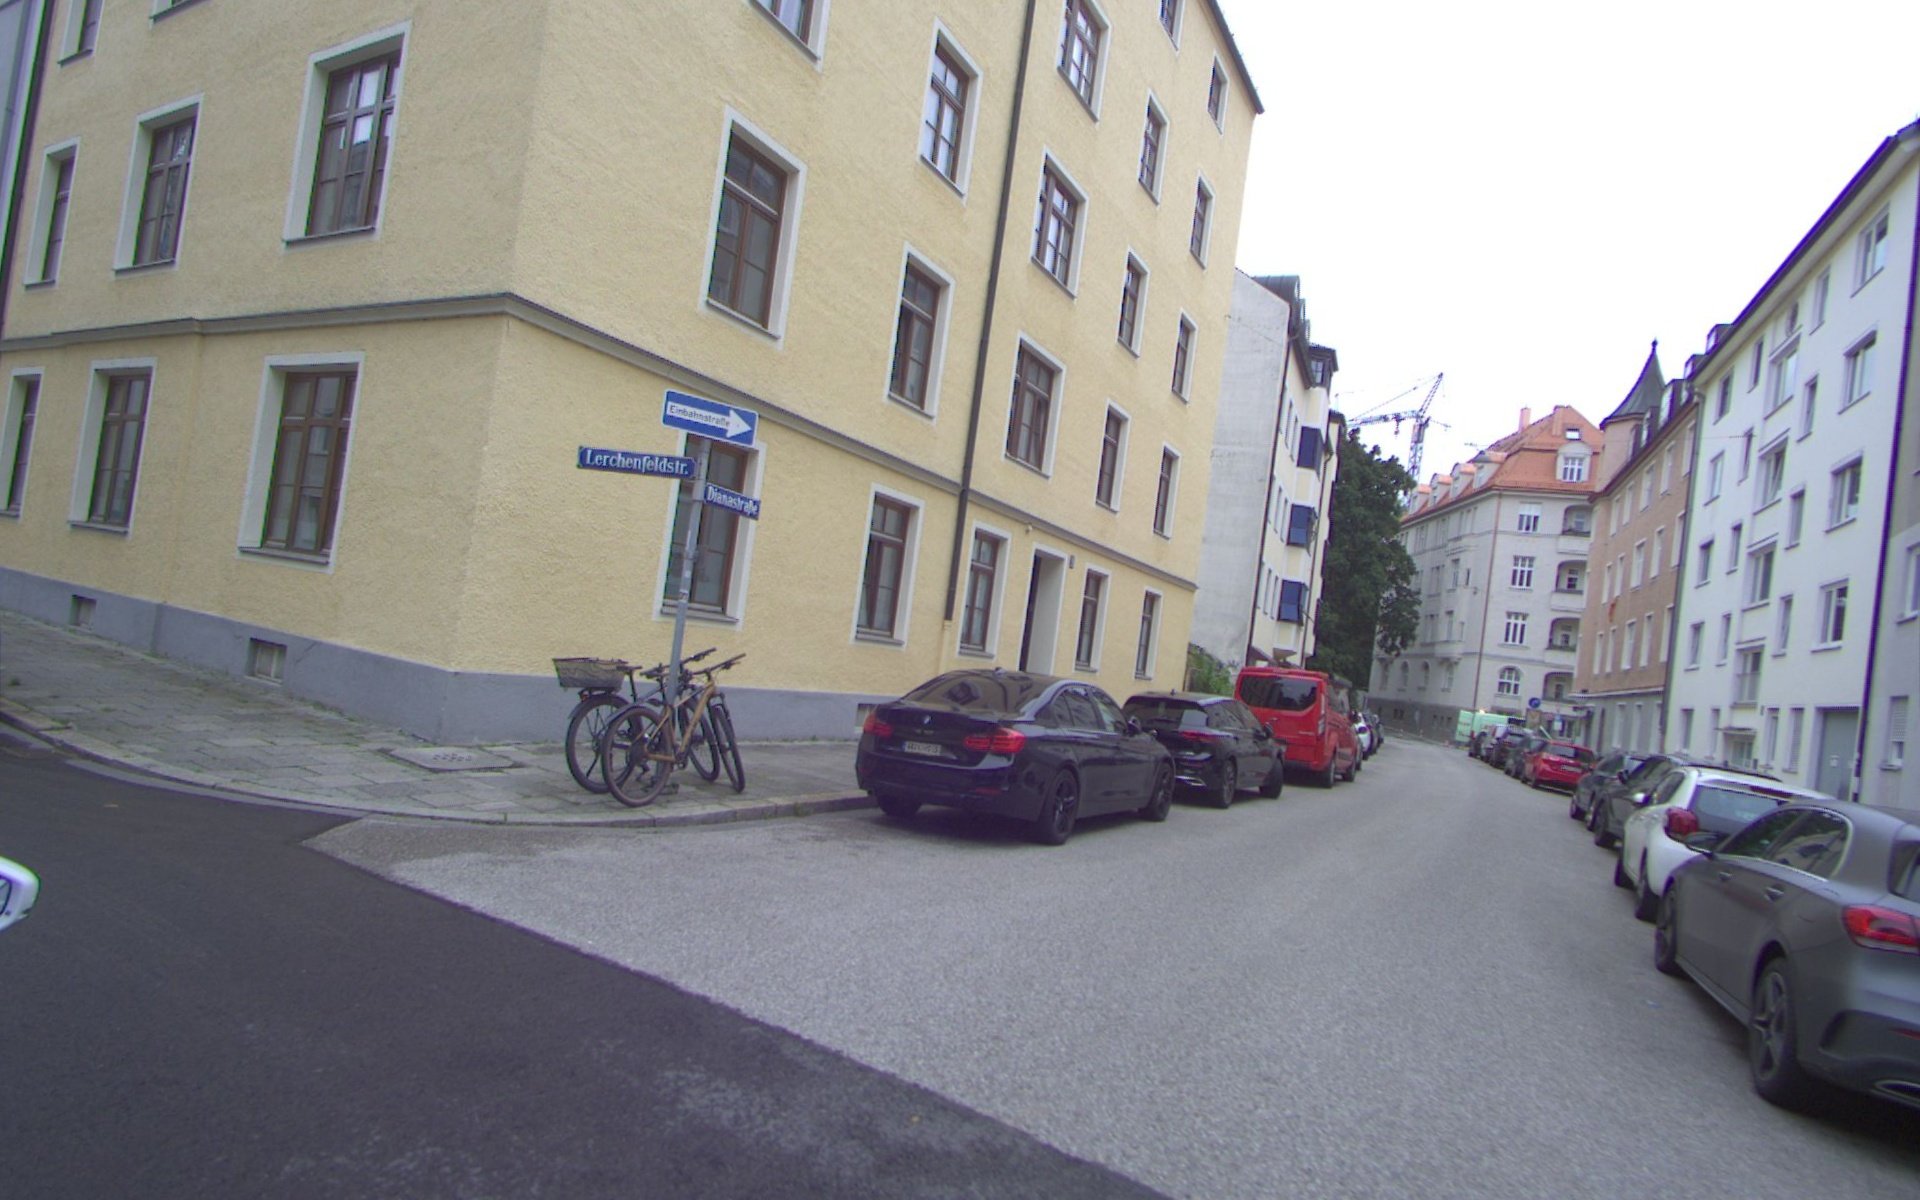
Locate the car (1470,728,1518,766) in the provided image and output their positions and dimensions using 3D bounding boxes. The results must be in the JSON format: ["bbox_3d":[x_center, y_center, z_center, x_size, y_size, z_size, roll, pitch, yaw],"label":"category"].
[{"bbox_3d":[27.479,7.553,51.857,1.705,1.531,3.888,9,-2,25],"label":"car"}]

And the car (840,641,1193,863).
[{"bbox_3d":[0.809,1.398,9.902,1.682,1.510,4.224,6,-3,29],"label":"car"}]

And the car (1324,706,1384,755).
[{"bbox_3d":[14.710,4.836,37.472,1.732,1.504,4.040,5,-4,25],"label":"car"}]

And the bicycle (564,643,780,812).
[{"bbox_3d":[-2.197,0.977,7.915,0.367,1.153,1.716,9,0,30],"label":"bicycle"}]

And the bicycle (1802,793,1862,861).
[{"bbox_3d":[17.339,4.484,20.023,0.457,1.128,1.802,7,-3,30],"label":"bicycle"}]

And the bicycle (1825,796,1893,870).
[{"bbox_3d":[16.455,4.243,18.448,0.457,1.128,1.802,7,-3,30],"label":"bicycle"}]

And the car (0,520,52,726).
[{"bbox_3d":[-9.132,-0.158,7.804,4.270,1.484,1.757,7,-5,31],"label":"car"}]

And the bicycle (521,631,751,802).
[{"bbox_3d":[-2.585,0.931,8.263,0.496,1.188,1.812,9,0,29],"label":"bicycle"}]

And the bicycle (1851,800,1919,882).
[{"bbox_3d":[15.545,4.002,16.866,0.457,1.128,1.802,7,-3,30],"label":"bicycle"}]

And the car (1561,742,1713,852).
[{"bbox_3d":[12.367,3.523,18.587,1.538,1.433,3.678,9,-2,25],"label":"car"}]

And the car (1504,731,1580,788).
[{"bbox_3d":[20.194,5.503,35.044,1.705,1.531,3.888,9,-2,25],"label":"car"}]

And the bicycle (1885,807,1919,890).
[{"bbox_3d":[14.666,3.789,15.249,0.457,1.128,1.802,7,-3,30],"label":"bicycle"}]

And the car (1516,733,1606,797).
[{"bbox_3d":[17.958,4.903,30.203,1.705,1.433,3.678,9,-2,25],"label":"car"}]

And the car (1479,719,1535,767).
[{"bbox_3d":[25.221,6.553,46.490,1.705,1.812,4.113,9,-2,25],"label":"car"}]

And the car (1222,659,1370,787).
[{"bbox_3d":[6.830,2.446,20.125,1.876,2.074,4.555,4,-4,29],"label":"car"}]

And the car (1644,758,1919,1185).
[{"bbox_3d":[5.274,1.838,5.429,1.965,1.415,4.216,9,-1,28],"label":"car"}]

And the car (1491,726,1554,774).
[{"bbox_3d":[23.092,6.133,41.425,1.705,1.531,3.888,9,-2,25],"label":"car"}]

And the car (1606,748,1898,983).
[{"bbox_3d":[7.535,2.405,9.911,1.540,1.452,3.353,12,0,30],"label":"car"}]

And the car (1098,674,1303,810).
[{"bbox_3d":[3.603,2.017,14.525,1.683,1.510,3.985,4,-4,31],"label":"car"}]

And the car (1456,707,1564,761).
[{"bbox_3d":[36.164,8.815,66.388,5.885,2.572,2.002,6,-4,26],"label":"car"}]

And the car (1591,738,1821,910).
[{"bbox_3d":[10.026,2.912,13.834,1.538,1.544,3.676,12,0,25],"label":"car"}]

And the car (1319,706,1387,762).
[{"bbox_3d":[13.000,4.389,33.142,1.732,1.504,4.040,5,-4,25],"label":"car"}]
